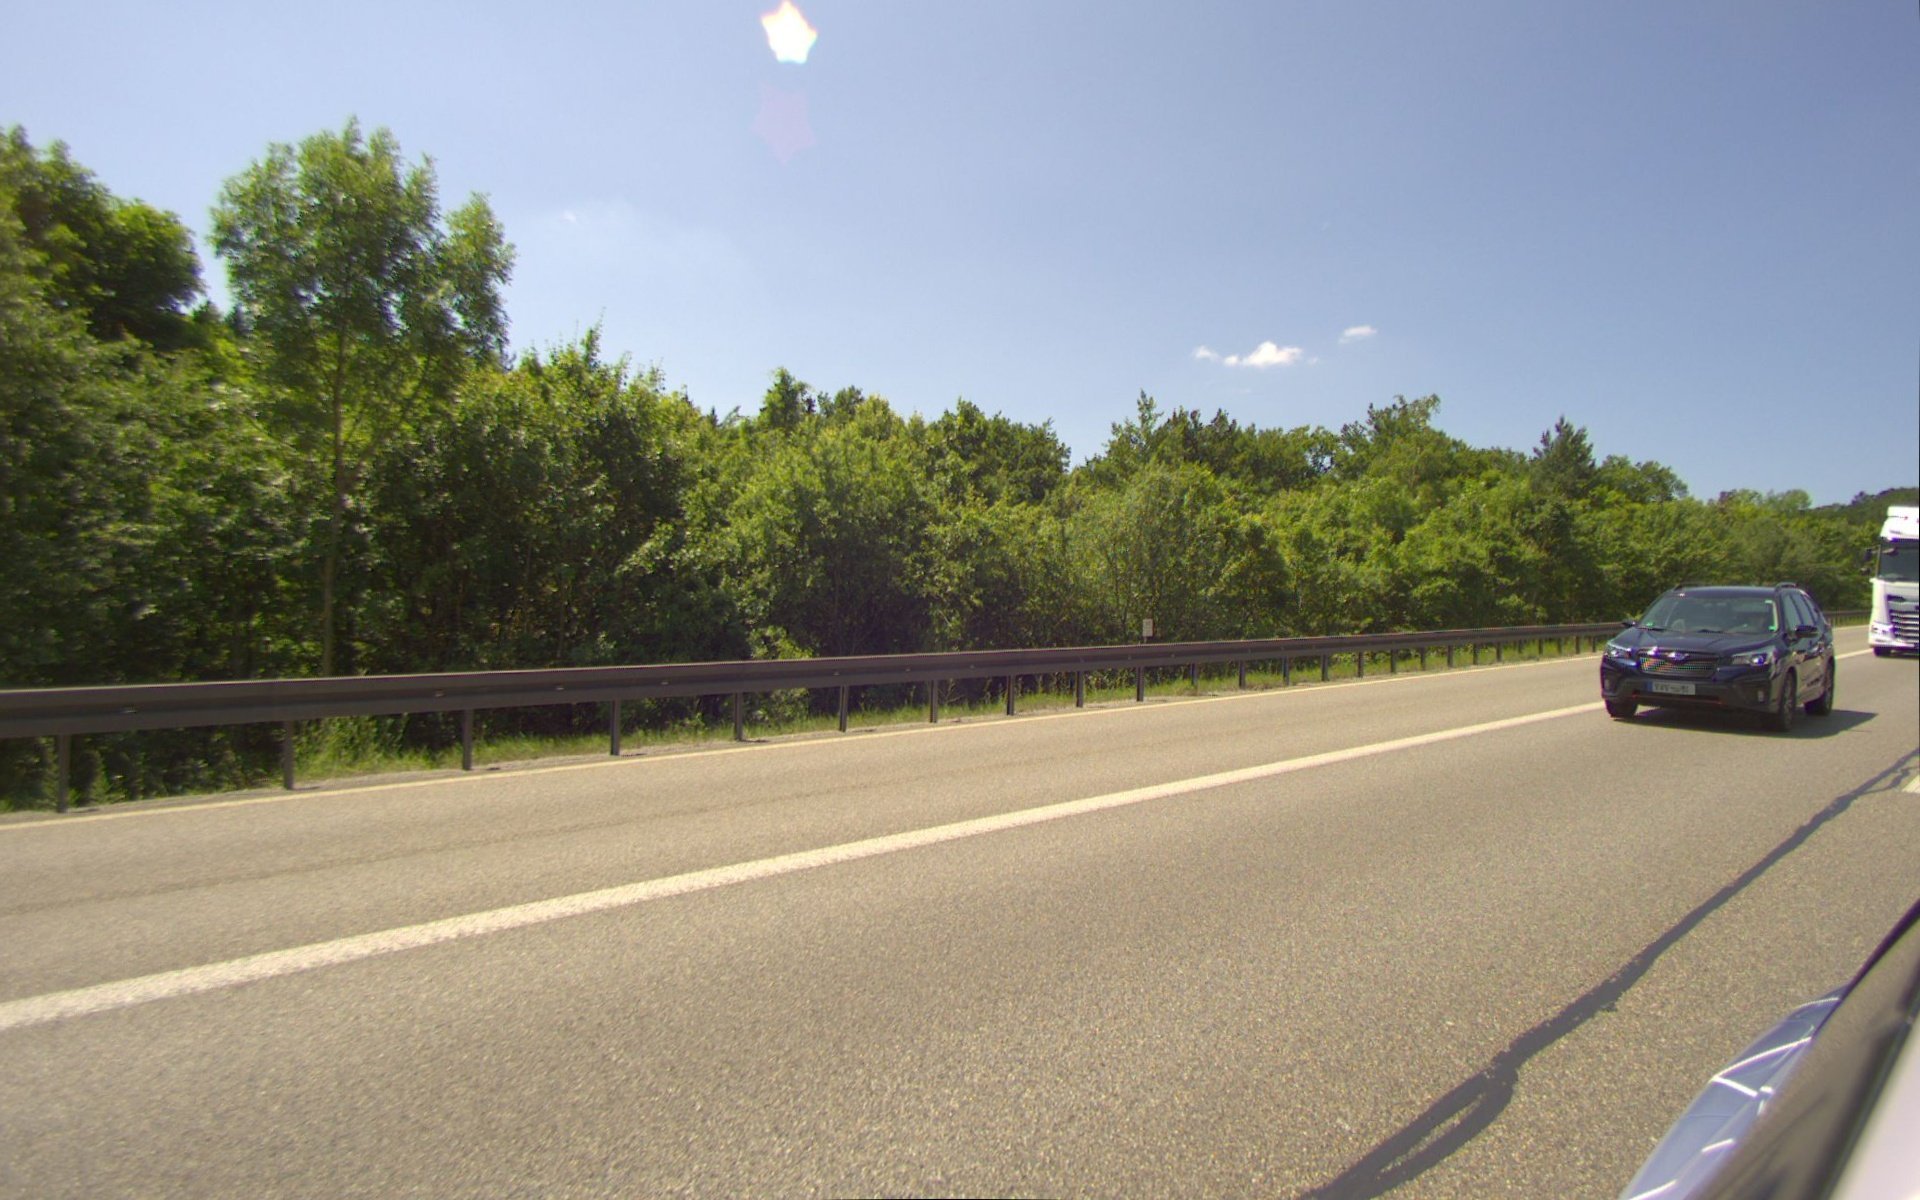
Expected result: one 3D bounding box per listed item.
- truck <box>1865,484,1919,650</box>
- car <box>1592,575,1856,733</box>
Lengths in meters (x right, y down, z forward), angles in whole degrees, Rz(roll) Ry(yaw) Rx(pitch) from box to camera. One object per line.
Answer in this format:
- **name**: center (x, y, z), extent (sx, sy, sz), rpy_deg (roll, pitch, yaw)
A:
- **truck**: center (30.735, -0.808, 30.571), extent (15.980, 4.220, 2.789), rpy_deg (0, 2, -40)
- **car**: center (9.860, 0.566, 12.950), extent (4.129, 1.688, 1.815), rpy_deg (0, 1, -40)
